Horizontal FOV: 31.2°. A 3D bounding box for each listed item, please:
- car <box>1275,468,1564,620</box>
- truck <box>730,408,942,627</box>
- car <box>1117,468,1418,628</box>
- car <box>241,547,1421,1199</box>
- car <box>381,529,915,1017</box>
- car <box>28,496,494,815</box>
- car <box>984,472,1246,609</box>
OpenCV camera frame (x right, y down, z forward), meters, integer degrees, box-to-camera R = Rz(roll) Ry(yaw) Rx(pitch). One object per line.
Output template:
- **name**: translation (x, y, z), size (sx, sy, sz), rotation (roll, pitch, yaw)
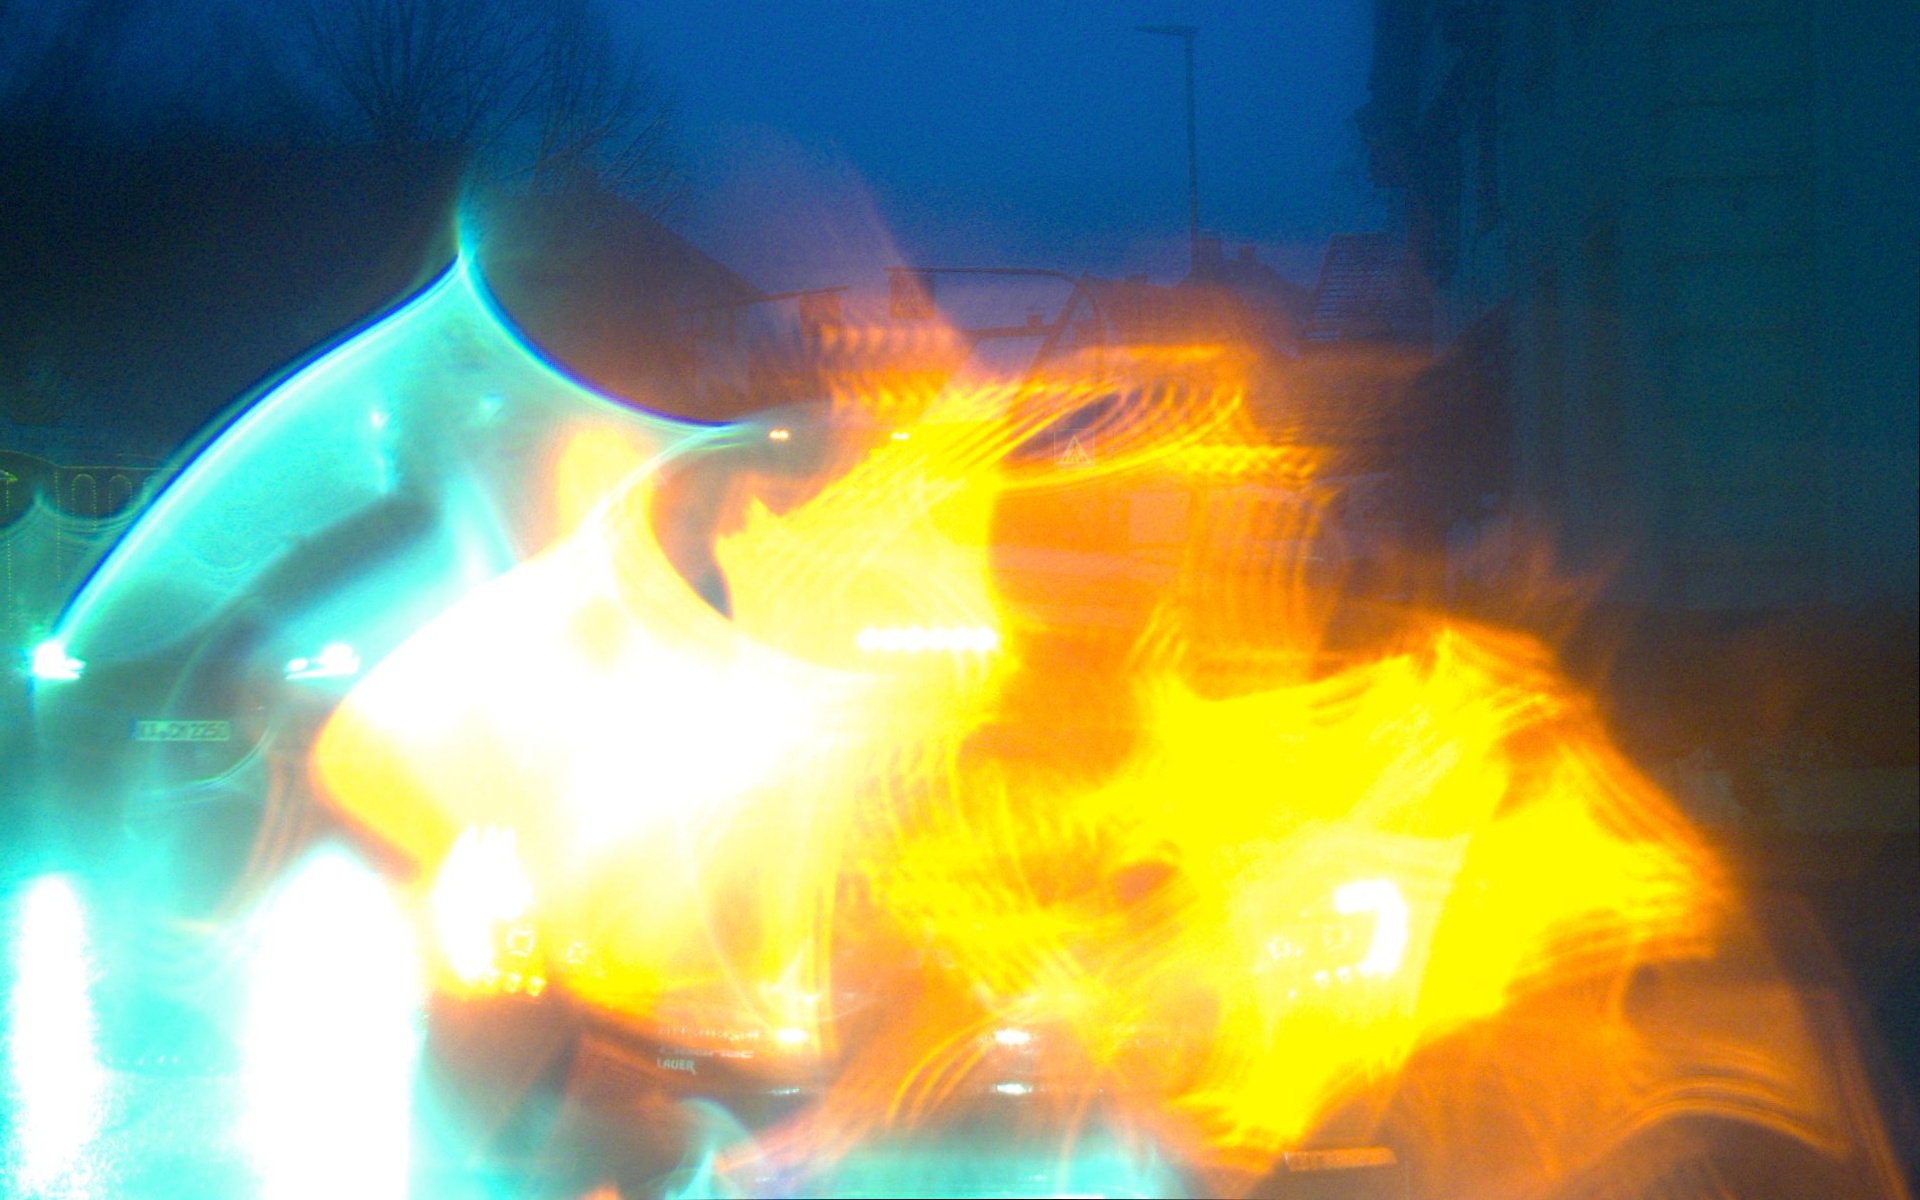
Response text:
- **car**: translation (6.701, -0.825, 50.342), size (4.098, 2.144, 1.913), rotation (0, 1, 7)
- **truck**: translation (-1.989, -1.277, 53.083), size (3.015, 3.118, 8.001), rotation (0, 1, -3)
- **car**: translation (4.316, -0.730, 48.065), size (4.098, 2.155, 1.913), rotation (0, 1, 7)
- **car**: translation (-0.196, 0.642, 6.472), size (1.638, 1.476, 3.379), rotation (0, 1, -1)
- **car**: translation (-1.019, 0.497, 12.207), size (1.638, 1.476, 3.272), rotation (0, 2, -2)
- **car**: translation (-3.828, 0.221, 19.581), size (1.810, 1.590, 4.400), rotation (-1, 1, -1)
- **car**: translation (2.541, -0.970, 55.803), size (4.098, 2.144, 1.913), rotation (0, 1, 7)
